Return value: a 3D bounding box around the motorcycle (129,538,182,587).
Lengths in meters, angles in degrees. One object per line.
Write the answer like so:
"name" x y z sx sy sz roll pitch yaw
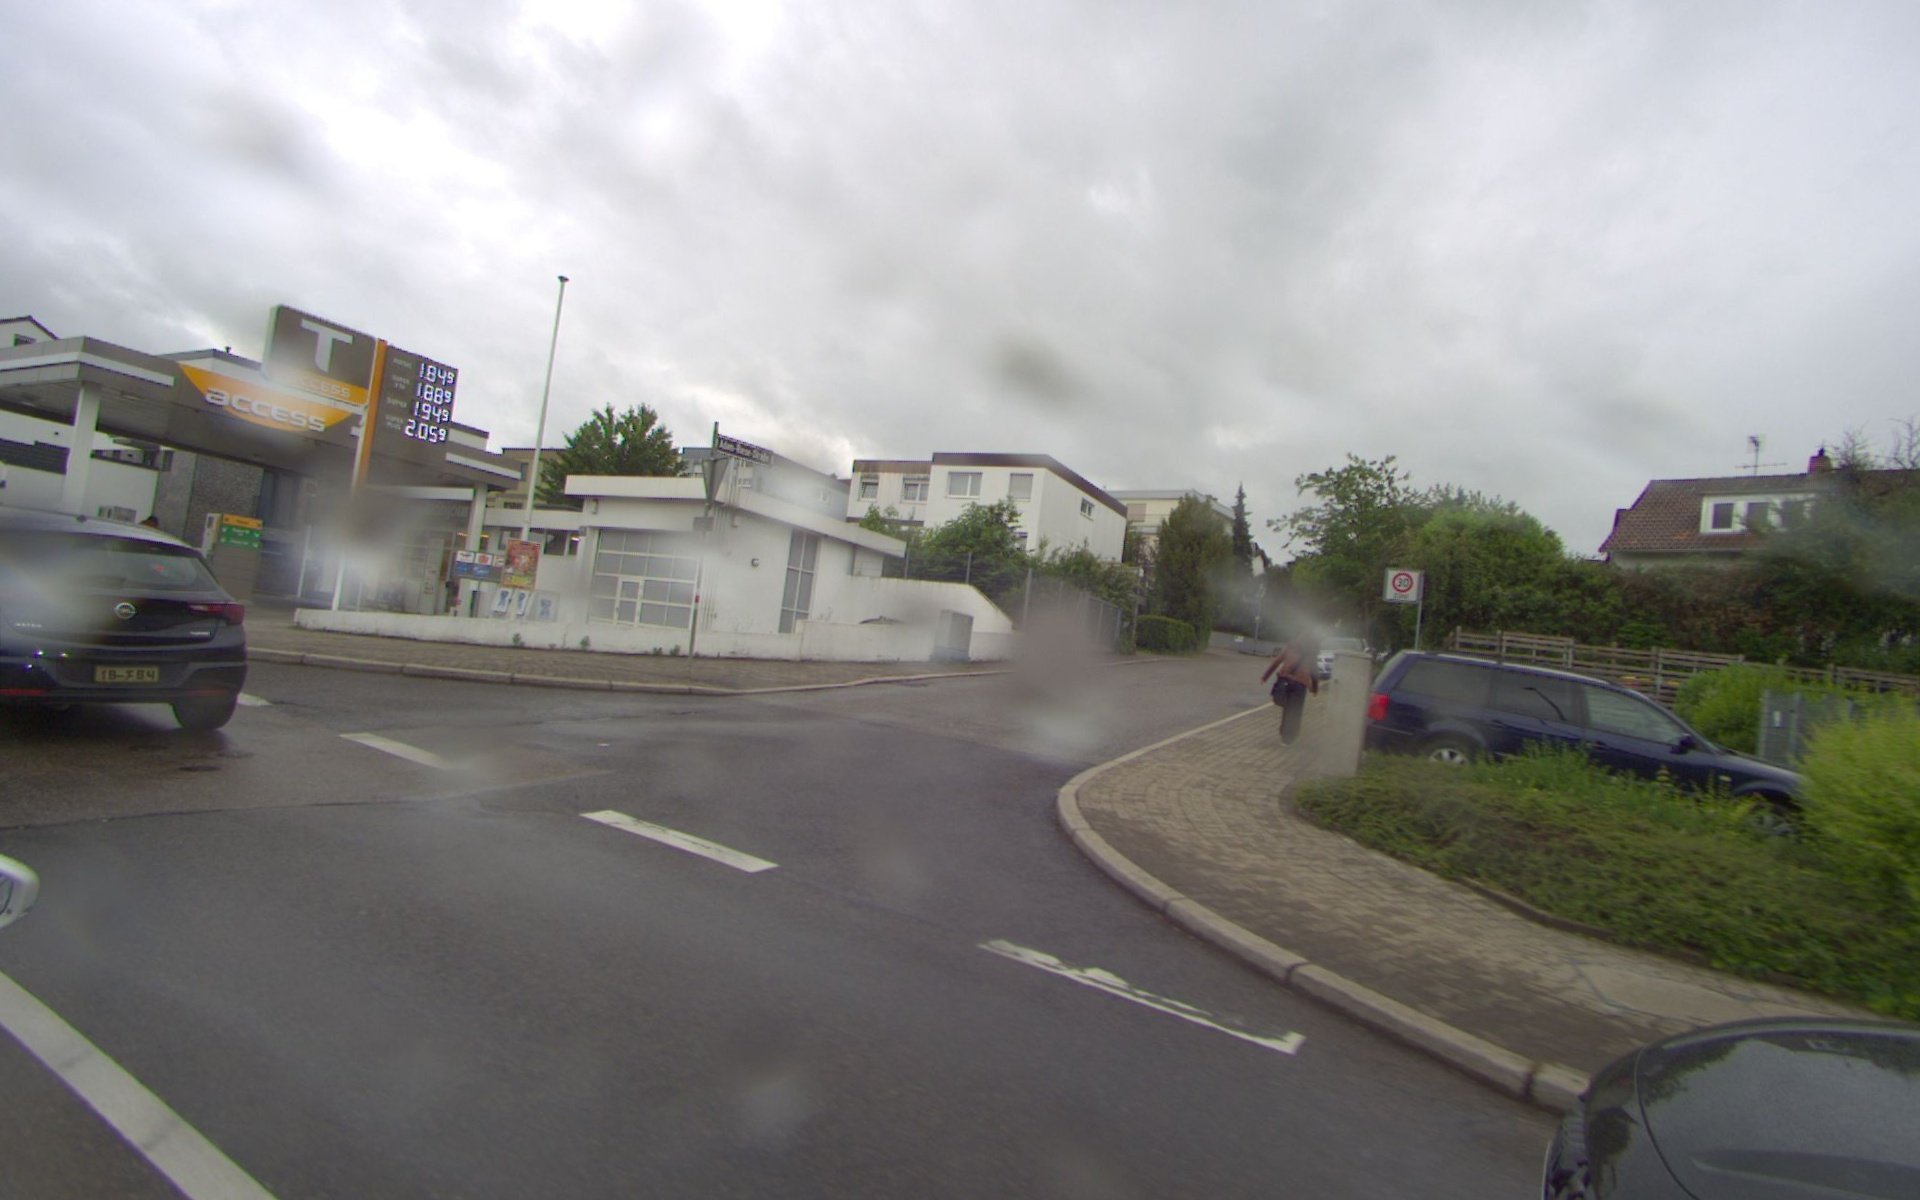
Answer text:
"motorcycle" -19.710 -0.922 24.644 1.368 1.067 0.463 5 -3 32

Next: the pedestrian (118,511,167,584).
"pedestrian" -19.997 -1.278 24.615 0.576 1.674 0.611 5 -3 31

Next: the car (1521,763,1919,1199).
"car" 3.129 1.208 0.774 4.663 1.440 1.870 4 -4 33

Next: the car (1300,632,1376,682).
"car" 13.220 1.957 35.036 1.965 1.493 3.994 3 -1 27

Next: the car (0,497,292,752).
"car" -6.866 0.029 7.349 3.935 1.466 1.759 6 -1 32

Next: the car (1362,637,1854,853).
"car" 6.400 1.351 10.525 3.928 1.546 1.814 5 0 24

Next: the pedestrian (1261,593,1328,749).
"pedestrian" 4.614 0.963 13.846 0.604 2.039 0.717 5 0 28
